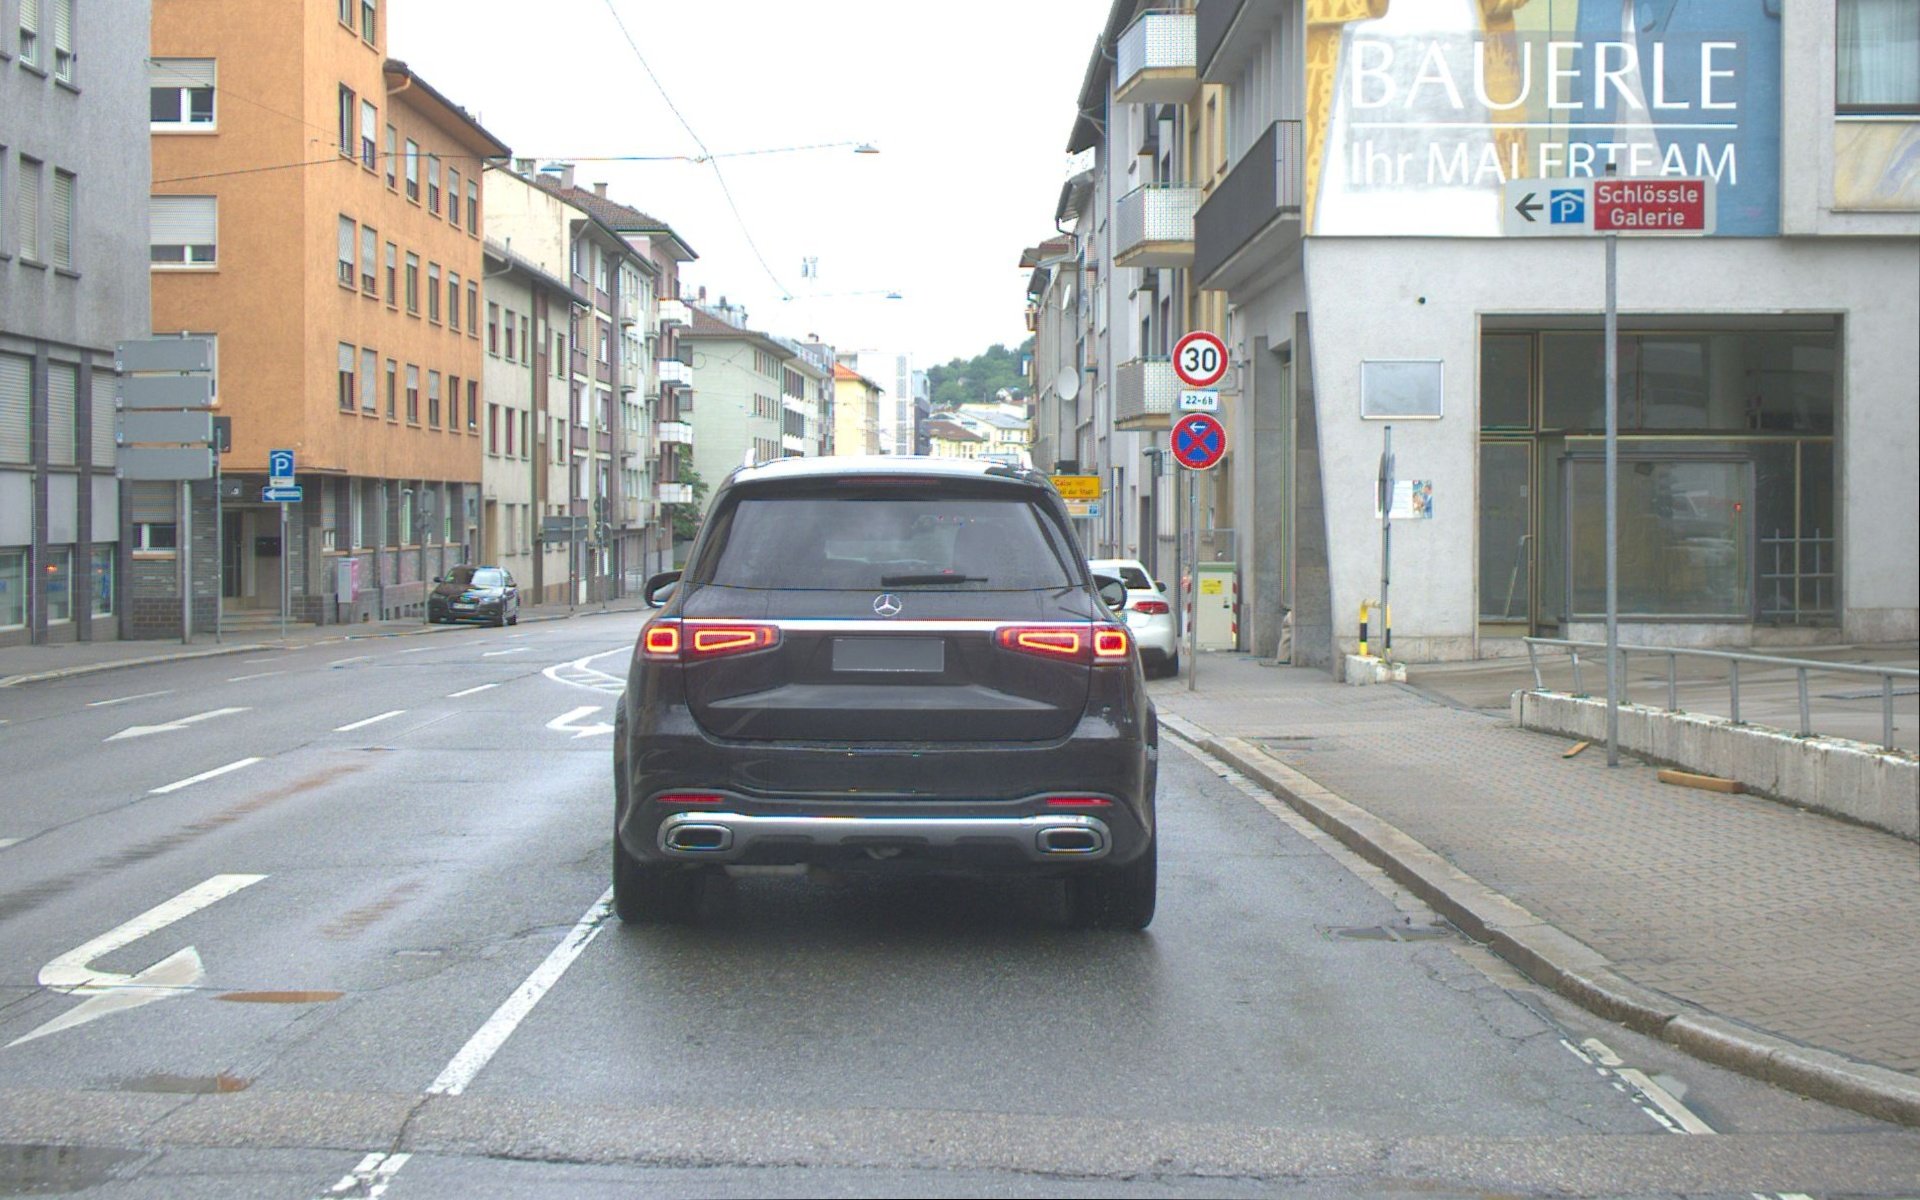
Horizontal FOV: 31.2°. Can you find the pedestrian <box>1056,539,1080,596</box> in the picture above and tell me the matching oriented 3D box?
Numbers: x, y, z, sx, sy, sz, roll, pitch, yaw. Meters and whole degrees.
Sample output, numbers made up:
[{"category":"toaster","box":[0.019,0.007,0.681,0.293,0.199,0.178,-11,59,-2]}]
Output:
[{"category":"pedestrian","box":[3.343,-1.002,106.220,0.655,1.746,0.741,-2,1,5]}]

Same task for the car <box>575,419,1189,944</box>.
[{"category":"car","box":[-0.288,0.230,14.186,2.076,1.759,4.611,2,1,0]}]

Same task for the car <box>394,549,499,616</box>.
[{"category":"car","box":[-11.968,-0.442,80.416,1.891,1.453,4.550,2,1,-2]}]

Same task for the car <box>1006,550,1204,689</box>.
[{"category":"car","box":[1.694,0.189,41.590,1.893,1.398,4.609,-5,1,-2]}]

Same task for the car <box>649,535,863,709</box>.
[{"category":"car","box":[-1.953,0.160,33.458,1.893,1.505,4.174,2,1,-3]}]

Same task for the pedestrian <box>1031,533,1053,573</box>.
[{"category":"pedestrian","box":[3.259,-1.873,136.063,0.821,1.560,0.899,2,1,3]}]
